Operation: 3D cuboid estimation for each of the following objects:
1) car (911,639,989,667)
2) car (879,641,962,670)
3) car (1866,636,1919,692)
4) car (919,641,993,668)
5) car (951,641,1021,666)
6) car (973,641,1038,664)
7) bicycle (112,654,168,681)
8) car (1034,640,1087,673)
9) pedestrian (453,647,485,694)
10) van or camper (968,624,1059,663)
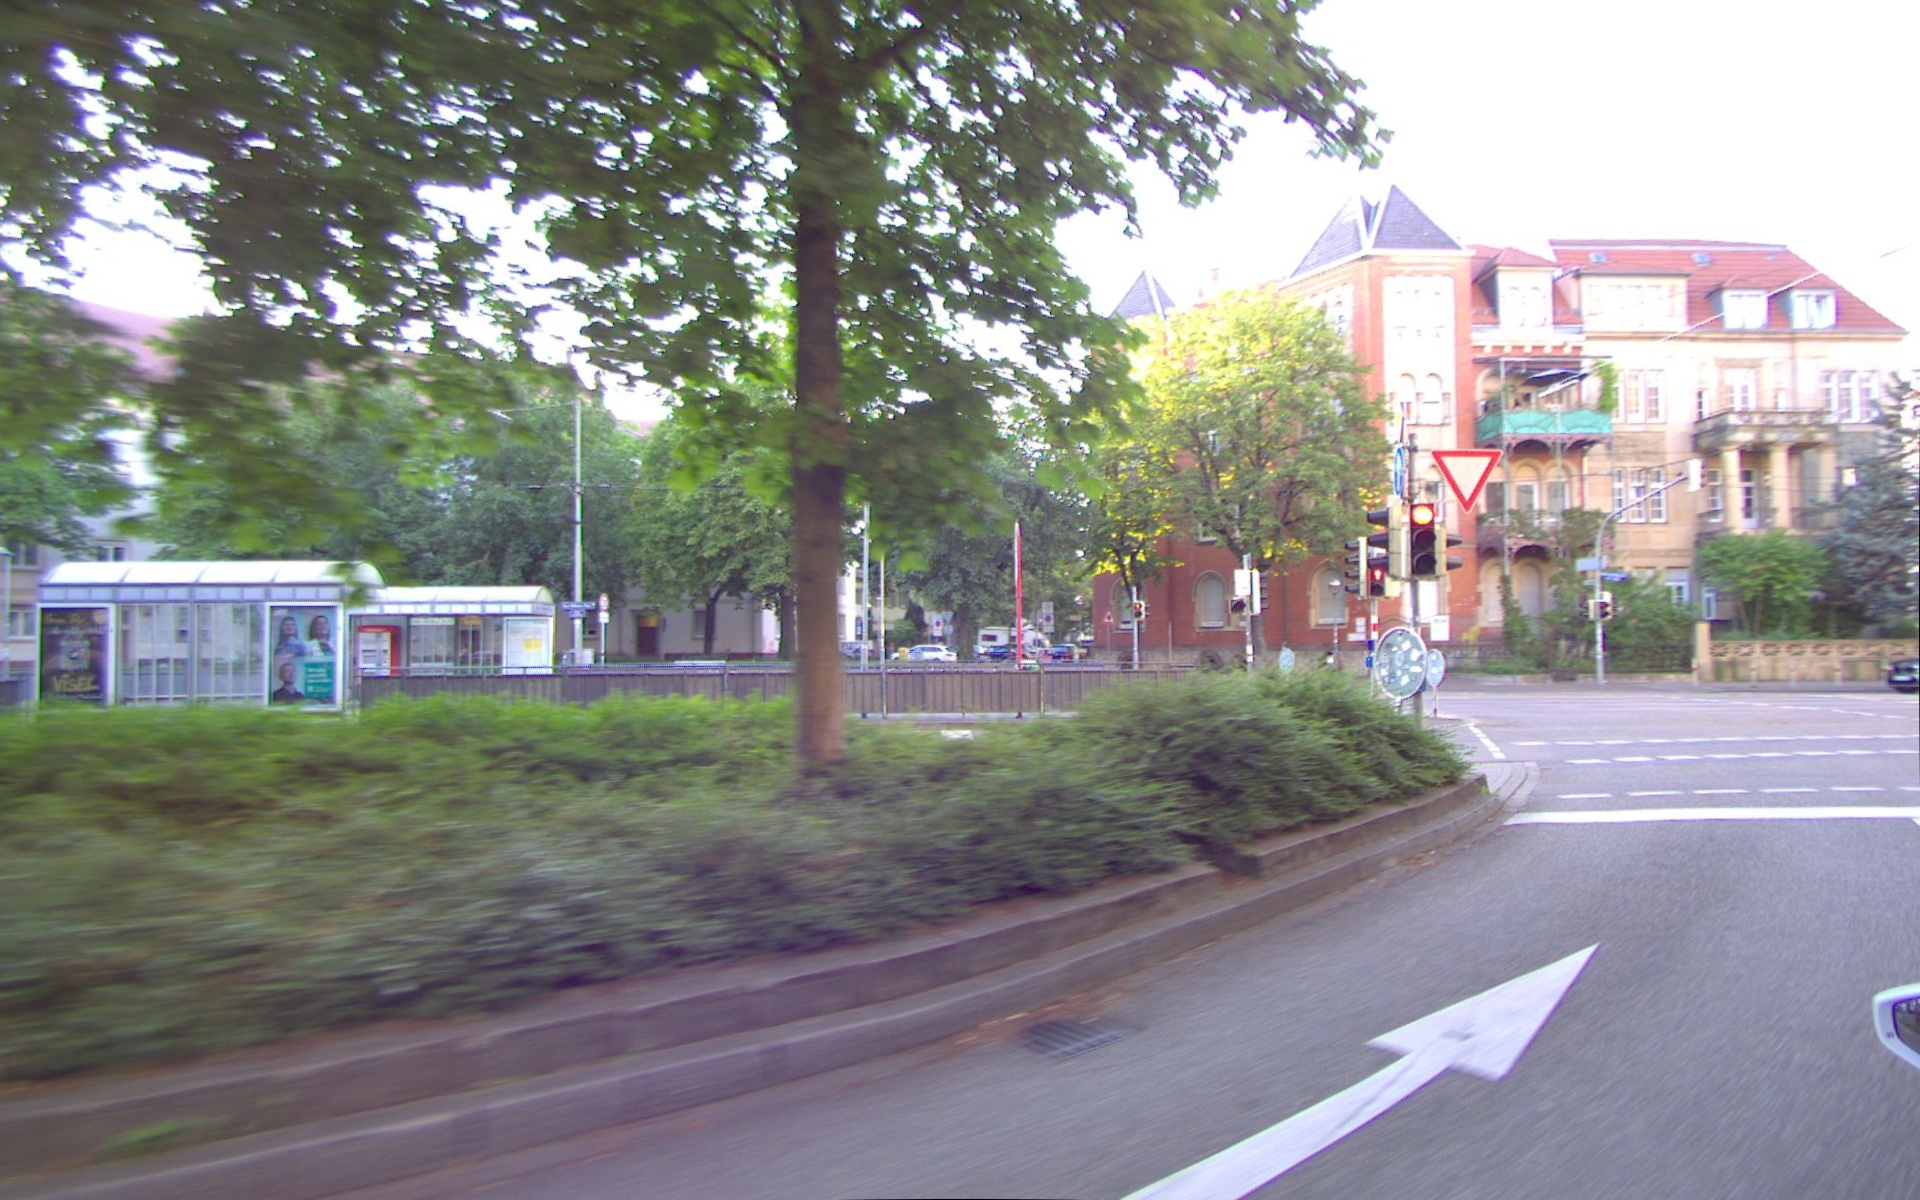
[{"bbox_3d":[-0.677,3.551,67.687,4.867,1.726,2.001,0,-2,16],"label":"car"},{"bbox_3d":[-2.485,3.501,63.442,4.867,1.726,2.001,0,-2,16],"label":"car"},{"bbox_3d":[28.426,1.753,28.069,4.331,1.529,1.951,-1,-2,2],"label":"car"},{"bbox_3d":[-0.256,3.813,70.734,4.867,1.726,2.001,0,-2,16],"label":"car"},{"bbox_3d":[1.960,3.979,75.168,4.867,1.726,2.001,0,-2,16],"label":"car"},{"bbox_3d":[3.617,4.143,79.840,4.867,1.726,2.001,0,-2,16],"label":"car"},{"bbox_3d":[-37.057,3.025,45.417,1.901,1.166,0.679,1,-3,-36],"label":"bicycle"},{"bbox_3d":[5.664,3.149,56.217,1.960,1.726,4.721,0,-2,18],"label":"car"},{"bbox_3d":[-22.656,3.226,46.355,1.000,2.113,1.054,-2,-3,43],"label":"pedestrian"},{"bbox_3d":[4.525,3.693,85.100,7.241,3.123,2.675,0,-2,16],"label":"van or camper"}]
